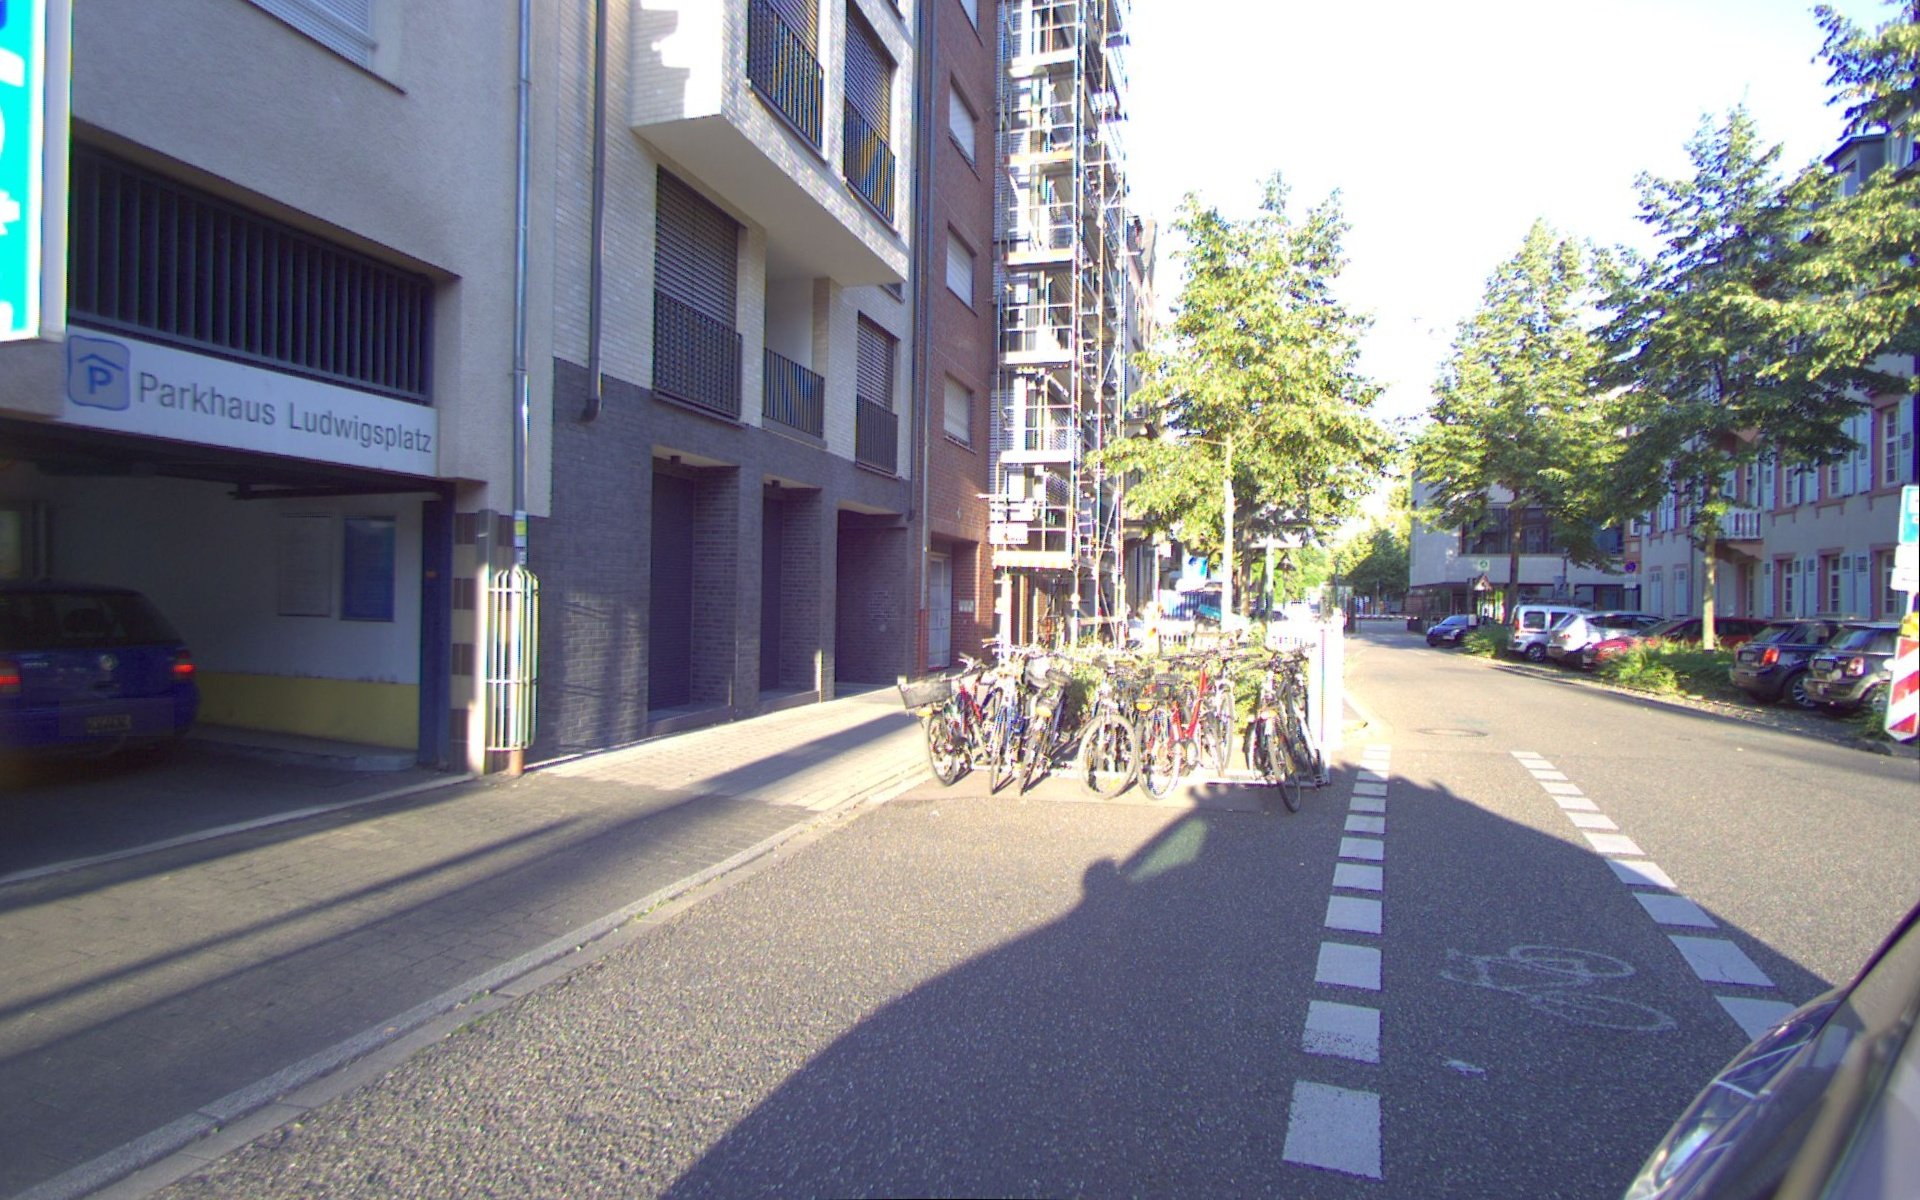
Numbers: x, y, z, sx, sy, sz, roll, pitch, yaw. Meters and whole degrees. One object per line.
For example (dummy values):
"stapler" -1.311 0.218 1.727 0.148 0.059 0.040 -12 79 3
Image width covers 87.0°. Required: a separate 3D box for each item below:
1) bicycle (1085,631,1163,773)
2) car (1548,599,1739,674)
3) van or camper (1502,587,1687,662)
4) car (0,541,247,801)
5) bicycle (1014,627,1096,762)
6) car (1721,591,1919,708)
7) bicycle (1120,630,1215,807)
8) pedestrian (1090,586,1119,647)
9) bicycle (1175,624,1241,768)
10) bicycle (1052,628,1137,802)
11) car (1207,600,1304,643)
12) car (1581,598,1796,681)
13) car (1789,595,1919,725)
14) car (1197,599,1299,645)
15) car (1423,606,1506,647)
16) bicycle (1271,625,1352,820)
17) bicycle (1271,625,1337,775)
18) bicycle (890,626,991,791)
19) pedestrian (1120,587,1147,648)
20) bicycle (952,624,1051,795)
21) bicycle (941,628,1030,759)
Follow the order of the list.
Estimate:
"bicycle" 1.574 0.906 9.543 0.482 1.164 1.543 1 0 18
"car" 17.767 0.897 26.505 3.646 1.691 1.849 3 0 16
"van or camper" 19.499 0.722 31.311 4.393 2.030 1.849 3 0 16
"car" -7.683 0.334 7.438 4.056 1.582 1.687 3 1 13
"bicycle" 0.952 0.870 9.872 0.462 1.158 1.543 1 0 18
"car" 14.800 0.793 16.222 3.646 1.691 1.849 3 0 16
"bicycle" 1.632 0.844 7.803 0.413 1.171 1.540 1 0 23
"pedestrian" 4.389 0.499 30.719 0.734 1.806 0.652 1 0 18
"bicycle" 2.335 0.834 9.432 0.482 1.178 1.543 1 0 18
"bicycle" 1.082 0.834 7.921 0.377 1.174 1.543 1 0 18
"car" 12.985 0.911 44.495 3.951 1.705 1.878 2 0 21
"car" 17.152 0.888 24.041 3.646 1.691 1.849 3 0 16
"car" 14.252 0.870 13.896 3.953 1.691 1.849 3 0 16
"car" 11.962 0.881 42.019 3.951 1.705 1.878 2 0 21
"car" 21.792 1.154 43.665 3.630 1.588 1.857 2 1 -39
"bicycle" 2.580 0.828 7.500 0.492 1.236 1.543 1 0 18
"bicycle" 3.100 0.845 9.185 0.502 1.193 1.543 1 0 18
"bicycle" -0.132 0.840 8.368 0.383 1.198 1.397 1 0 18
"pedestrian" 5.263 0.521 30.738 0.733 1.806 0.653 1 0 17
"bicycle" 0.369 0.814 8.174 0.382 1.204 1.543 1 0 18
"bicycle" 0.279 0.873 10.044 0.452 1.146 1.543 1 0 18
